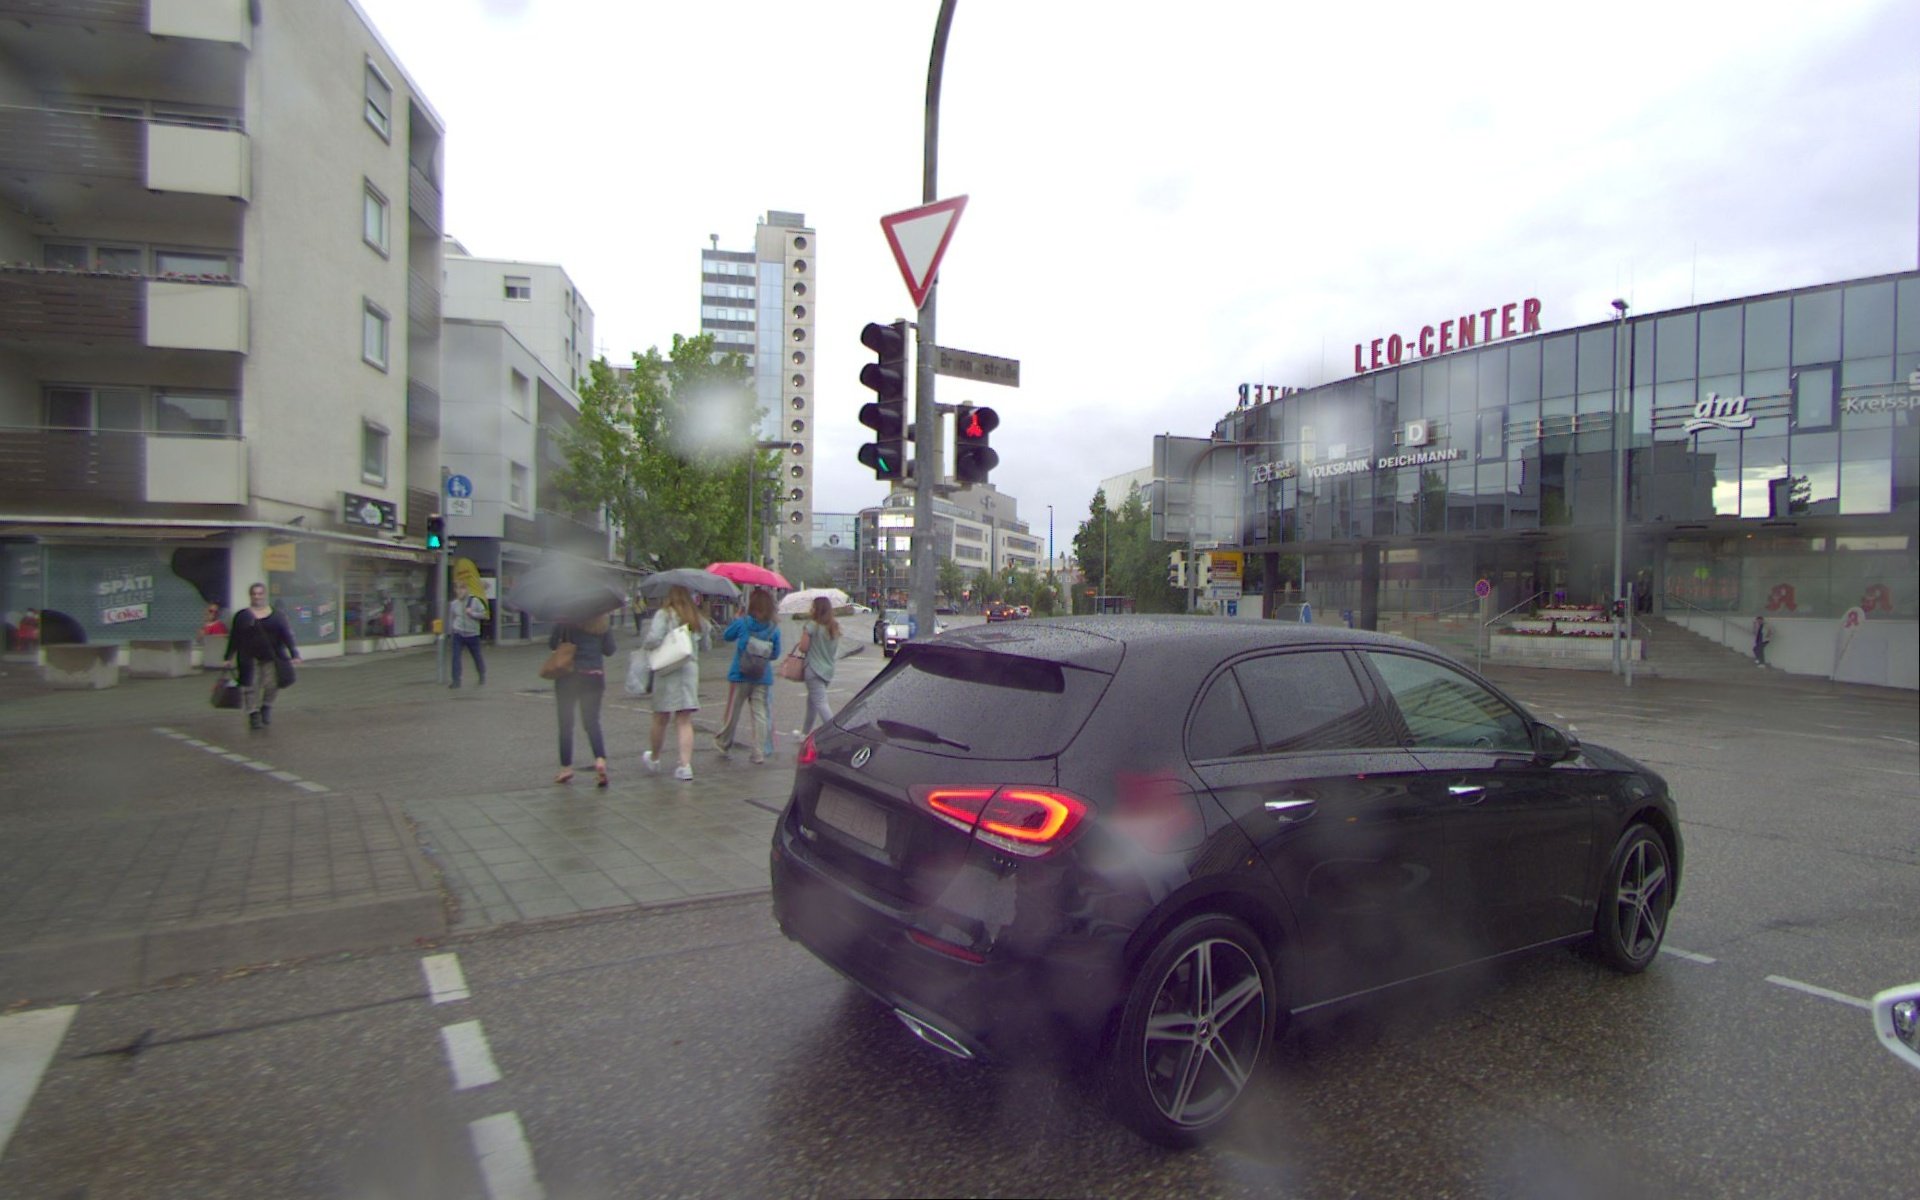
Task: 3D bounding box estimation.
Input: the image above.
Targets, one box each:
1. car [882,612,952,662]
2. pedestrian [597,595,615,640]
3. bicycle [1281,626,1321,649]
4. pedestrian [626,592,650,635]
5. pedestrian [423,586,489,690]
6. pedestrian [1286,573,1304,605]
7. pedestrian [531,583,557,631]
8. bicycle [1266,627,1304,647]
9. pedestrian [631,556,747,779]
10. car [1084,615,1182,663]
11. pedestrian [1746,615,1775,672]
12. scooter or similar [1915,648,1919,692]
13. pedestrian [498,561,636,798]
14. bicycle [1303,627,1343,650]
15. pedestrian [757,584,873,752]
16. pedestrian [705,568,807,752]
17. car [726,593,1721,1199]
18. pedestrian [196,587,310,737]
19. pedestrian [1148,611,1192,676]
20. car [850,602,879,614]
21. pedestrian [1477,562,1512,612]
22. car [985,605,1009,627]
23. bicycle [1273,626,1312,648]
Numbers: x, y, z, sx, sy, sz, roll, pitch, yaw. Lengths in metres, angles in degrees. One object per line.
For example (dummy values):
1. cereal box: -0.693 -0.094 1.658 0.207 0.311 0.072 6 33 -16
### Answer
1. car: -1.424 1.156 33.179 2.082 1.432 5.144 2 -1 -3
2. pedestrian: -14.722 0.727 41.797 0.557 1.817 0.491 1 0 -6
3. bicycle: 17.062 1.872 50.306 1.823 1.056 0.646 -1 0 -14
4. pedestrian: -13.987 0.593 43.682 0.859 1.835 0.923 1 0 -13
5. pedestrian: -8.305 0.623 16.590 0.801 1.677 0.712 1 0 -14
6. pedestrian: 18.414 -0.591 55.254 0.642 1.736 0.599 2 1 -9
7. pedestrian: -17.763 0.304 42.921 0.859 2.040 0.923 1 0 -13
8. bicycle: 16.742 1.908 51.720 1.822 0.964 0.535 -1 2 -11
9. pedestrian: -2.350 0.543 8.627 0.847 1.767 1.133 1 0 -20
10. car: 5.967 1.329 35.139 1.719 1.460 3.977 1 0 -18
11. pedestrian: 28.159 1.527 35.343 0.590 1.934 0.650 1 1 -40
12. scooter or similar: 31.364 2.281 32.086 1.154 1.391 0.486 3 2 43
13. pedestrian: -3.109 0.604 8.011 0.939 1.759 0.832 1 -1 -20
14. bicycle: 17.607 1.866 48.721 1.823 1.037 0.630 -1 0 -14
15. pedestrian: -1.571 0.699 10.825 0.907 1.699 0.930 1 0 -33
16. pedestrian: -1.999 0.570 9.834 0.796 1.707 0.669 2 -1 -28
17. car: 1.289 0.759 4.081 4.052 1.501 1.652 0 2 -35
18. pedestrian: -7.843 0.671 11.190 0.901 1.606 0.653 1 0 -25
19. pedestrian: 5.473 1.113 26.182 0.795 1.645 0.950 1 0 -11
20. car: -13.267 1.112 139.282 3.826 1.538 1.780 1 1 -14
21. pedestrian: 22.732 -0.551 42.740 0.936 2.041 0.830 2 1 -15
22. car: 3.482 1.454 93.539 2.008 1.921 4.140 2 1 4
23. bicycle: 16.876 1.858 51.040 1.823 1.047 0.627 -1 0 -14
